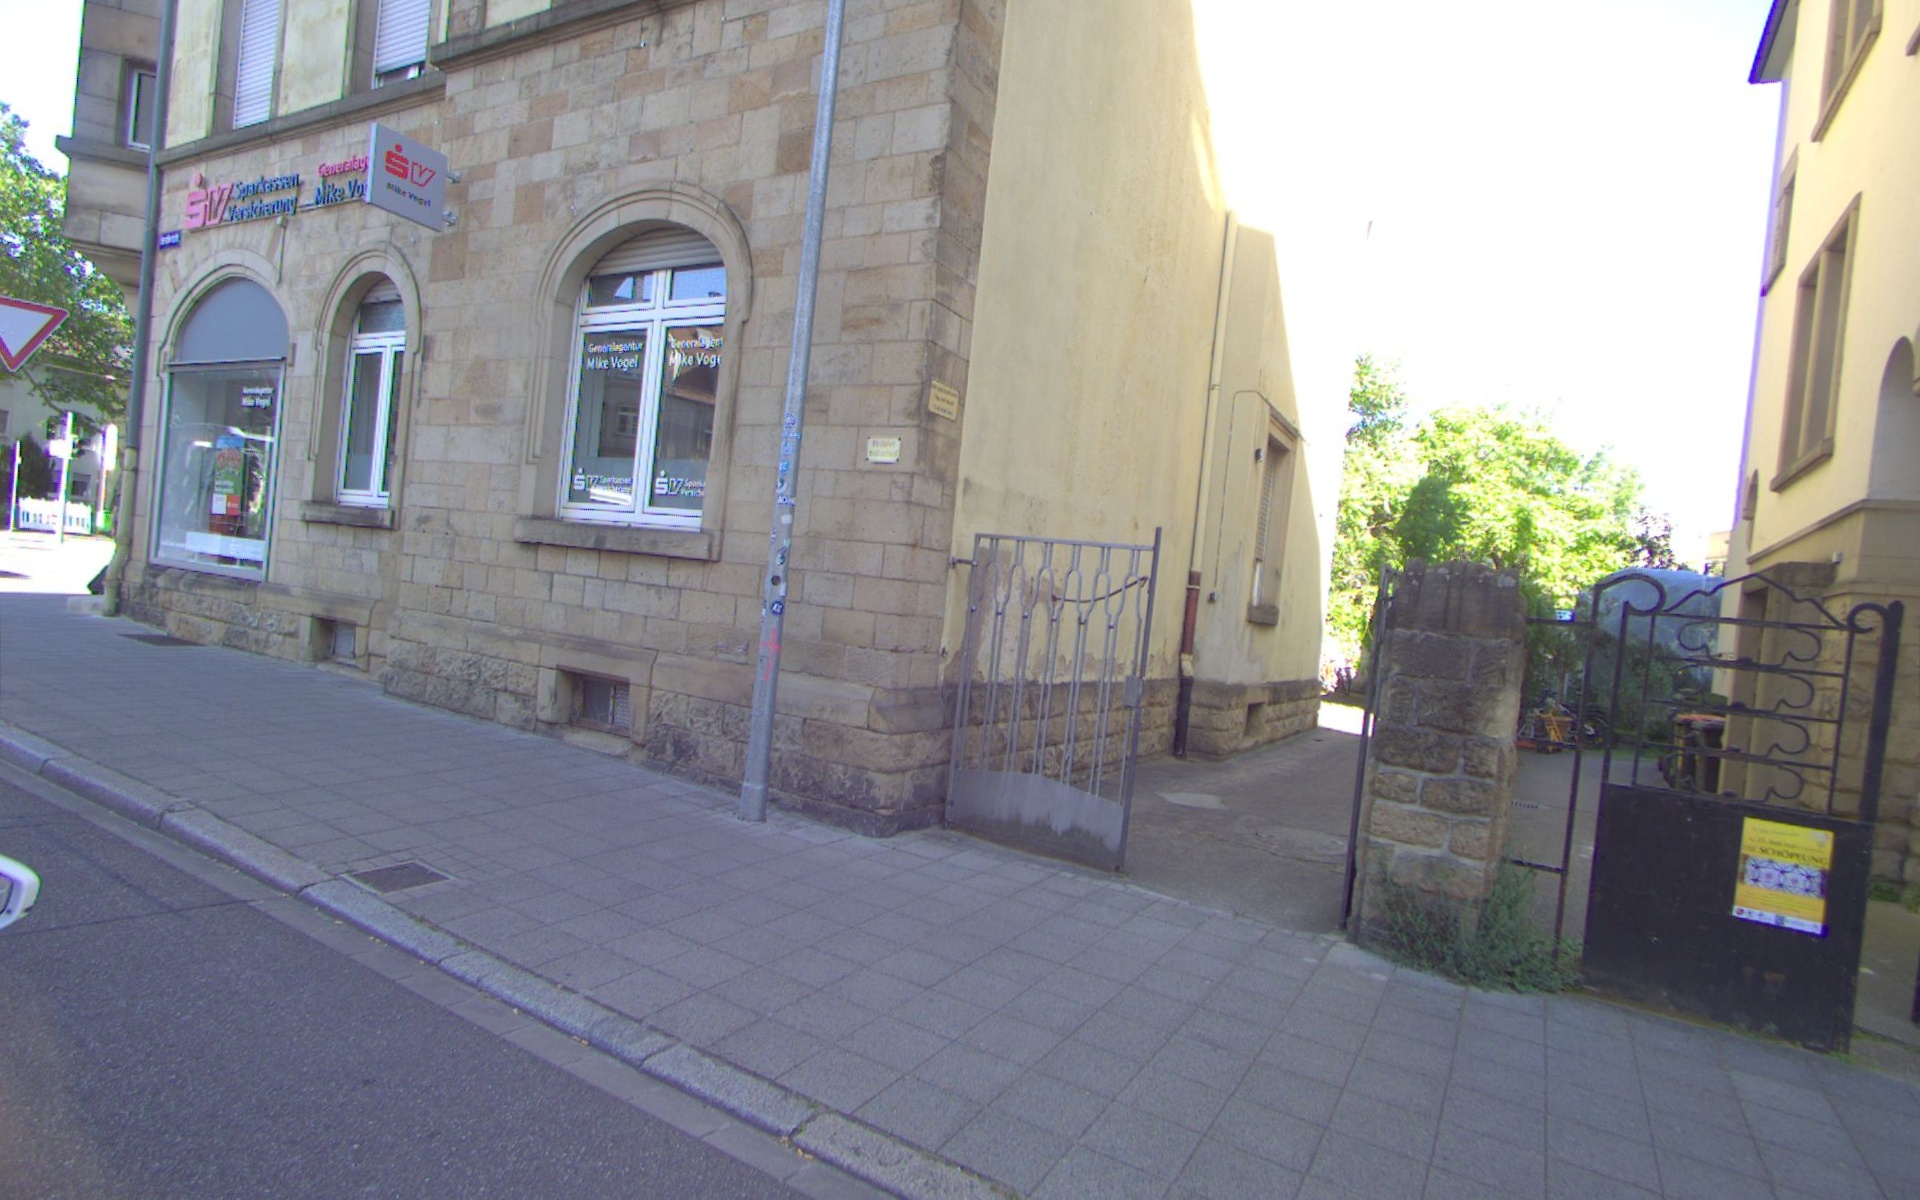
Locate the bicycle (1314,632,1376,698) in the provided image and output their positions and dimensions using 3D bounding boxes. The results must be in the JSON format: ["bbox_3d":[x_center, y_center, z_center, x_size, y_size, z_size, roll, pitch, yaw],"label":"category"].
[{"bbox_3d":[9.970,1.643,25.975,0.904,1.532,2.667,6,2,31],"label":"bicycle"}]

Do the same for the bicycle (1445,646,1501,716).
[{"bbox_3d":[12.588,1.938,24.645,0.904,1.532,2.667,6,2,31],"label":"bicycle"}]

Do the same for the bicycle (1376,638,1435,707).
[{"bbox_3d":[11.203,1.778,25.258,0.904,1.532,2.667,6,2,31],"label":"bicycle"}]

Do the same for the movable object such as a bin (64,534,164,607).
[{"bbox_3d":[-11.680,-0.393,13.907,0.500,0.903,0.864,7,1,19],"label":"movable object such as a bin"}]

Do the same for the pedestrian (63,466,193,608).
[{"bbox_3d":[-11.921,-0.876,14.439,0.735,1.871,1.069,7,0,19],"label":"pedestrian"}]
